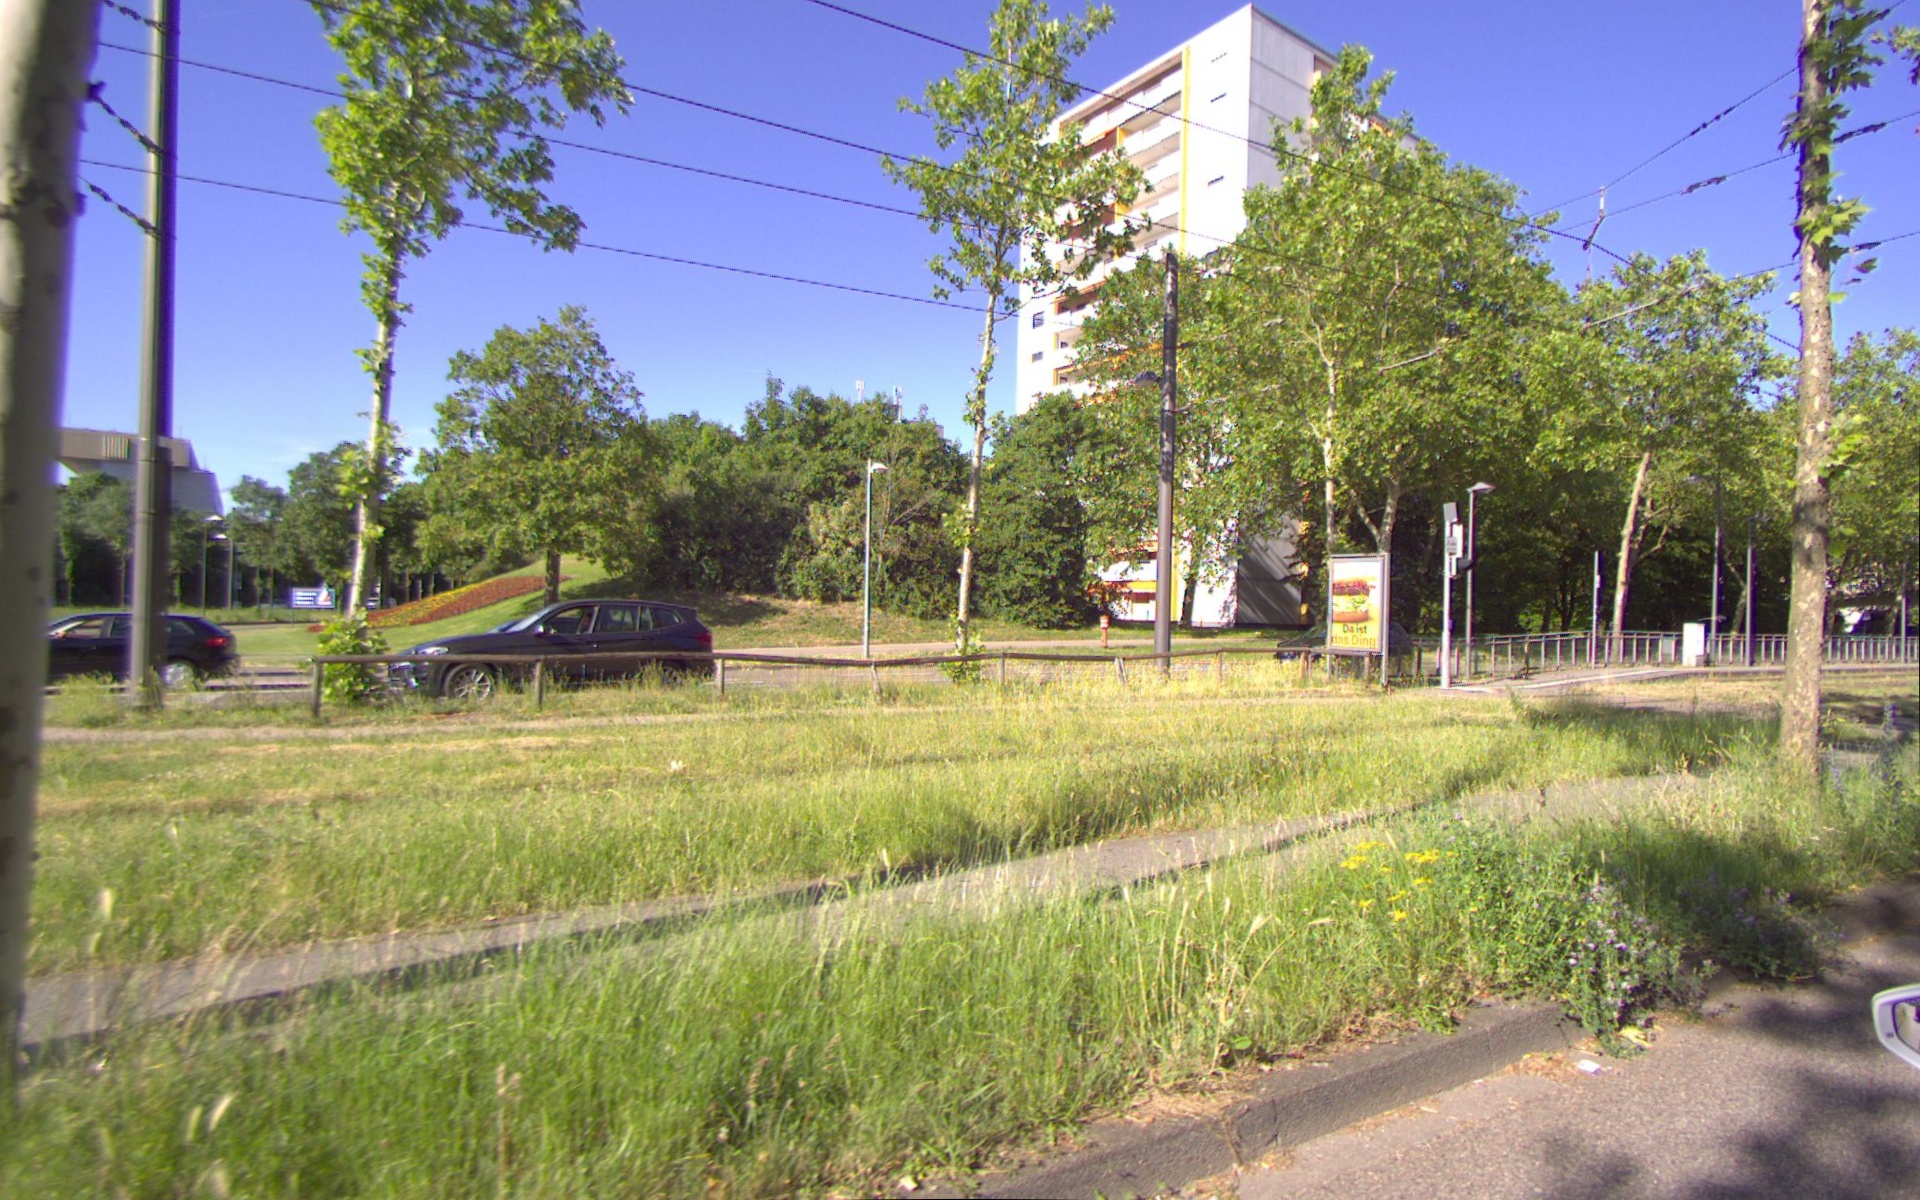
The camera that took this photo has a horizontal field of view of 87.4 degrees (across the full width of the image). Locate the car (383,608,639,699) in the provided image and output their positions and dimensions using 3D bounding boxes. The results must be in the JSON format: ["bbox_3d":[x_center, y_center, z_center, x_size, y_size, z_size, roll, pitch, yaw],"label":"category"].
[{"bbox_3d":[-8.408,0.972,18.927,4.217,1.530,1.786,2,-1,-30],"label":"car"}]

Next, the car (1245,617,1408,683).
[{"bbox_3d":[9.721,1.299,26.552,4.217,1.629,1.786,2,-1,-30],"label":"car"}]

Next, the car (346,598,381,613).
[{"bbox_3d":[-67.168,0.623,113.196,1.765,1.530,3.998,1,-1,-3],"label":"car"}]

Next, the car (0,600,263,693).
[{"bbox_3d":[-15.147,0.806,18.021,4.221,1.530,1.784,2,-1,-33],"label":"car"}]

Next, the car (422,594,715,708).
[{"bbox_3d":[-6.297,0.797,16.261,4.184,1.638,1.786,2,-1,-30],"label":"car"}]

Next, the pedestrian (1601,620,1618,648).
[{"bbox_3d":[39.976,2.102,61.798,0.642,1.683,0.645,1,0,-29],"label":"pedestrian"}]
